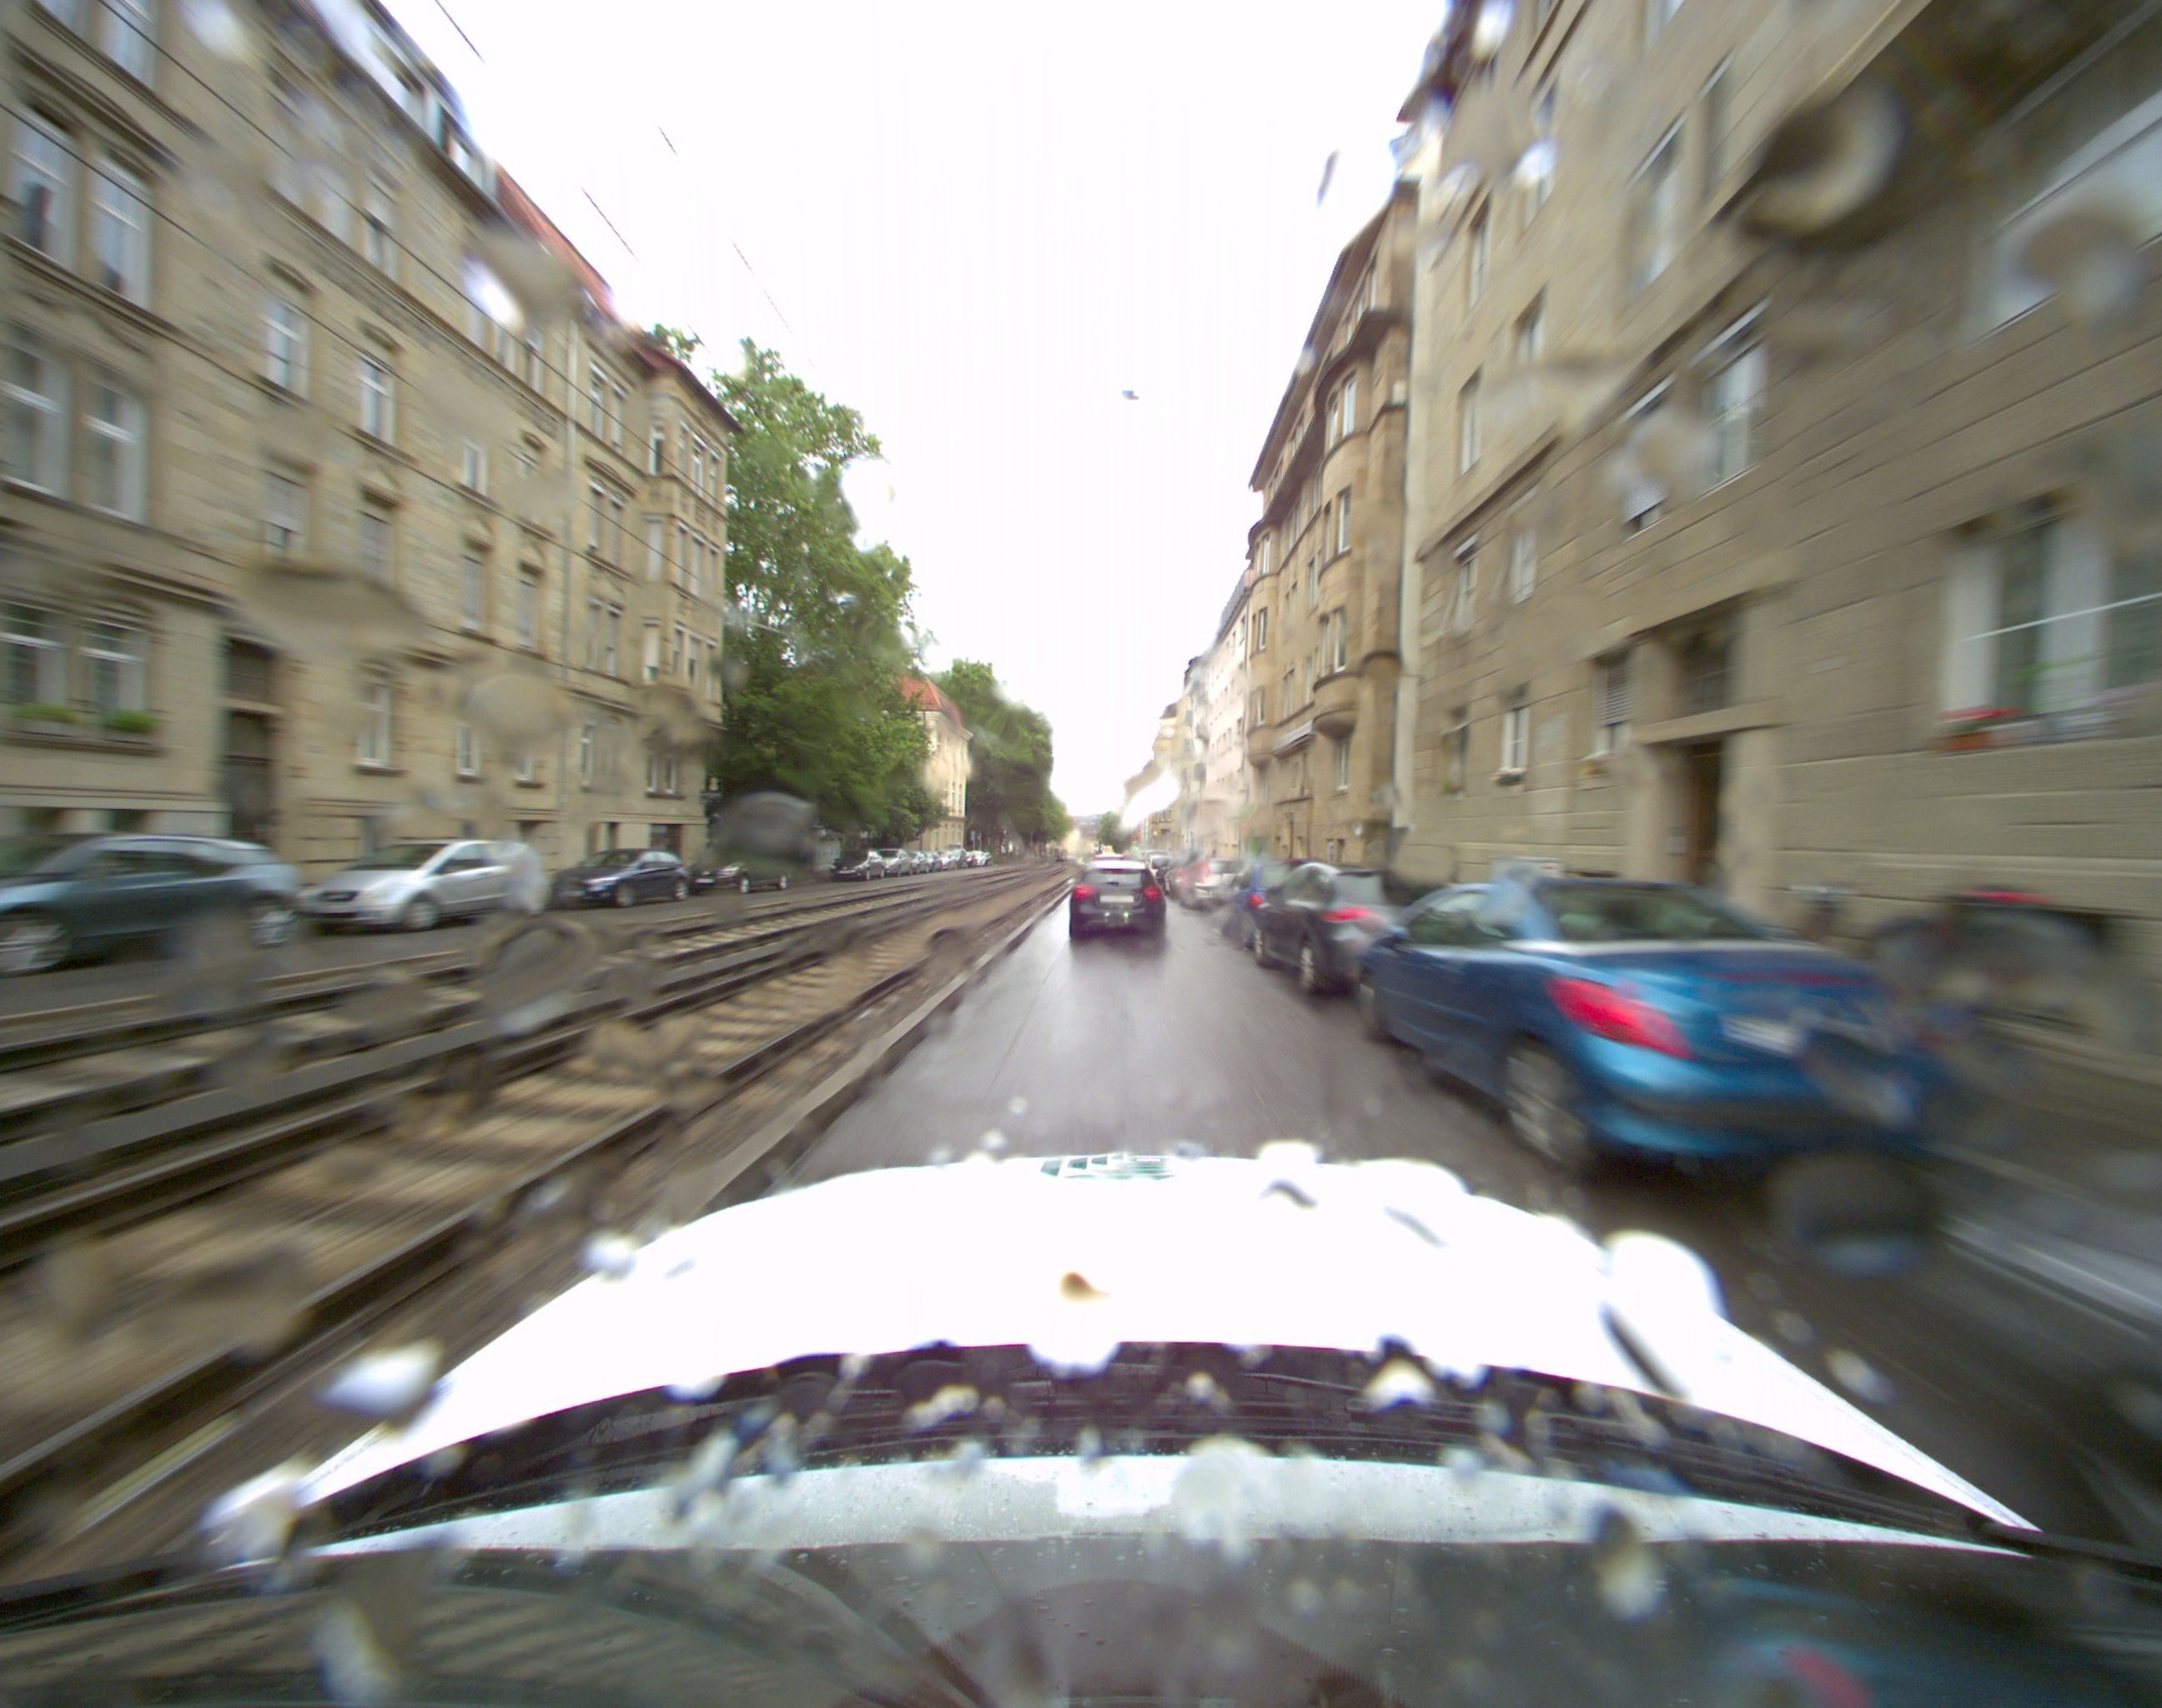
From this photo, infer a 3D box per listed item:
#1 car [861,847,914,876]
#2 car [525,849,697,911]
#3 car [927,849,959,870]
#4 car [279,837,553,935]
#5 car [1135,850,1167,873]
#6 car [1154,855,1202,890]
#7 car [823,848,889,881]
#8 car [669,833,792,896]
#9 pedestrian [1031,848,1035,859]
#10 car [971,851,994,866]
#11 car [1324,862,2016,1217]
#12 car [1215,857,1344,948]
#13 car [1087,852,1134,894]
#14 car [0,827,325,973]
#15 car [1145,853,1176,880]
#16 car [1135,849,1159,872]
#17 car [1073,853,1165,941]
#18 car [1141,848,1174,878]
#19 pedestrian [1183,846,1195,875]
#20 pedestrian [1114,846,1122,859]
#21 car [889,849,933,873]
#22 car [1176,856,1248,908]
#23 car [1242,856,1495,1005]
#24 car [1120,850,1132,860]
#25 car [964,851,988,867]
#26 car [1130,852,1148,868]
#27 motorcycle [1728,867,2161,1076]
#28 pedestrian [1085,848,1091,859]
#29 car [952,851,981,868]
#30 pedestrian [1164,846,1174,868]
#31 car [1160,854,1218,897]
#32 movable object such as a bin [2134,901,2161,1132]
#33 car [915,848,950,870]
[{"bbox_3d":[-10.636,0.387,45.136,1.748,1.536,4.544,-1,0,1],"label":"car"},{"bbox_3d":[-11.582,0.576,20.449,1.756,1.398,4.270,0,0,1],"label":"car"},{"bbox_3d":[-10.119,0.397,60.041,1.534,1.505,4.155,-1,0,1],"label":"car"},{"bbox_3d":[-11.750,0.501,14.784,1.688,1.524,3.857,0,0,3],"label":"car"},{"bbox_3d":[4.751,0.473,55.769,1.865,1.455,4.904,1,0,1],"label":"car"},{"bbox_3d":[4.178,0.773,35.647,1.664,1.410,4.312,0,0,1],"label":"car"},{"bbox_3d":[-10.807,0.490,39.409,1.843,1.464,4.550,-1,0,0],"label":"car"},{"bbox_3d":[-11.343,0.307,26.799,1.794,1.846,4.821,0,0,2],"label":"car"},{"bbox_3d":[-7.955,-0.051,136.042,0.532,1.754,0.607,3,0,2],"label":"pedestrian"},{"bbox_3d":[-9.540,0.415,79.135,1.608,1.429,3.854,0,1,2],"label":"car"},{"bbox_3d":[3.027,0.781,5.360,1.701,1.398,4.019,1,0,1],"label":"car"},{"bbox_3d":[3.453,0.785,14.713,1.538,1.415,3.446,1,0,1],"label":"car"},{"bbox_3d":[1.220,0.738,33.113,1.778,1.581,4.002,1,0,2],"label":"car"},{"bbox_3d":[-12.044,0.476,9.811,1.863,1.508,4.171,0,0,2],"label":"car"},{"bbox_3d":[4.497,0.694,46.496,1.564,1.462,3.602,0,0,2],"label":"car"},{"bbox_3d":[5.229,0.458,65.255,1.820,1.750,4.471,1,0,4],"label":"car"},{"bbox_3d":[0.713,0.736,15.872,1.574,1.505,3.576,1,0,2],"label":"car"},{"bbox_3d":[4.709,0.546,50.861,1.784,1.765,4.213,0,0,1],"label":"car"},{"bbox_3d":[6.521,0.379,49.111,0.605,1.763,0.689,-1,0,1],"label":"pedestrian"},{"bbox_3d":[5.544,-0.237,121.179,1.135,1.998,1.172,-1,0,-2],"label":"pedestrian"},{"bbox_3d":[-10.439,0.424,50.257,1.748,1.413,4.155,-1,0,1],"label":"car"},{"bbox_3d":[3.851,0.787,24.431,1.585,1.434,3.683,0,0,0],"label":"car"},{"bbox_3d":[3.278,0.768,10.192,1.781,1.462,4.084,1,0,1],"label":"car"},{"bbox_3d":[7.323,0.189,132.937,1.820,1.618,3.866,-1,0,2],"label":"car"},{"bbox_3d":[-9.584,0.413,74.685,1.494,1.391,3.991,-1,0,3],"label":"car"},{"bbox_3d":[5.738,0.550,80.750,1.686,1.529,4.003,1,0,2],"label":"car"},{"bbox_3d":[6.374,0.730,6.265,0.702,1.199,2.747,1,0,2],"label":"motorcycle"},{"bbox_3d":[1.006,-0.085,116.011,0.802,1.633,0.893,-1,0,2],"label":"pedestrian"},{"bbox_3d":[-9.792,0.451,69.995,1.667,1.413,4.013,-1,0,3],"label":"car"},{"bbox_3d":[7.727,0.272,71.330,0.742,1.833,1.040,-2,0,3],"label":"pedestrian"},{"bbox_3d":[3.888,0.739,29.903,1.662,1.434,3.957,0,0,1],"label":"car"},{"bbox_3d":[5.519,0.794,3.453,0.662,1.103,1.124,1,0,2],"label":"movable object such as a bin"},{"bbox_3d":[-9.966,0.341,54.886,1.534,1.413,3.954,-1,0,1],"label":"car"}]
